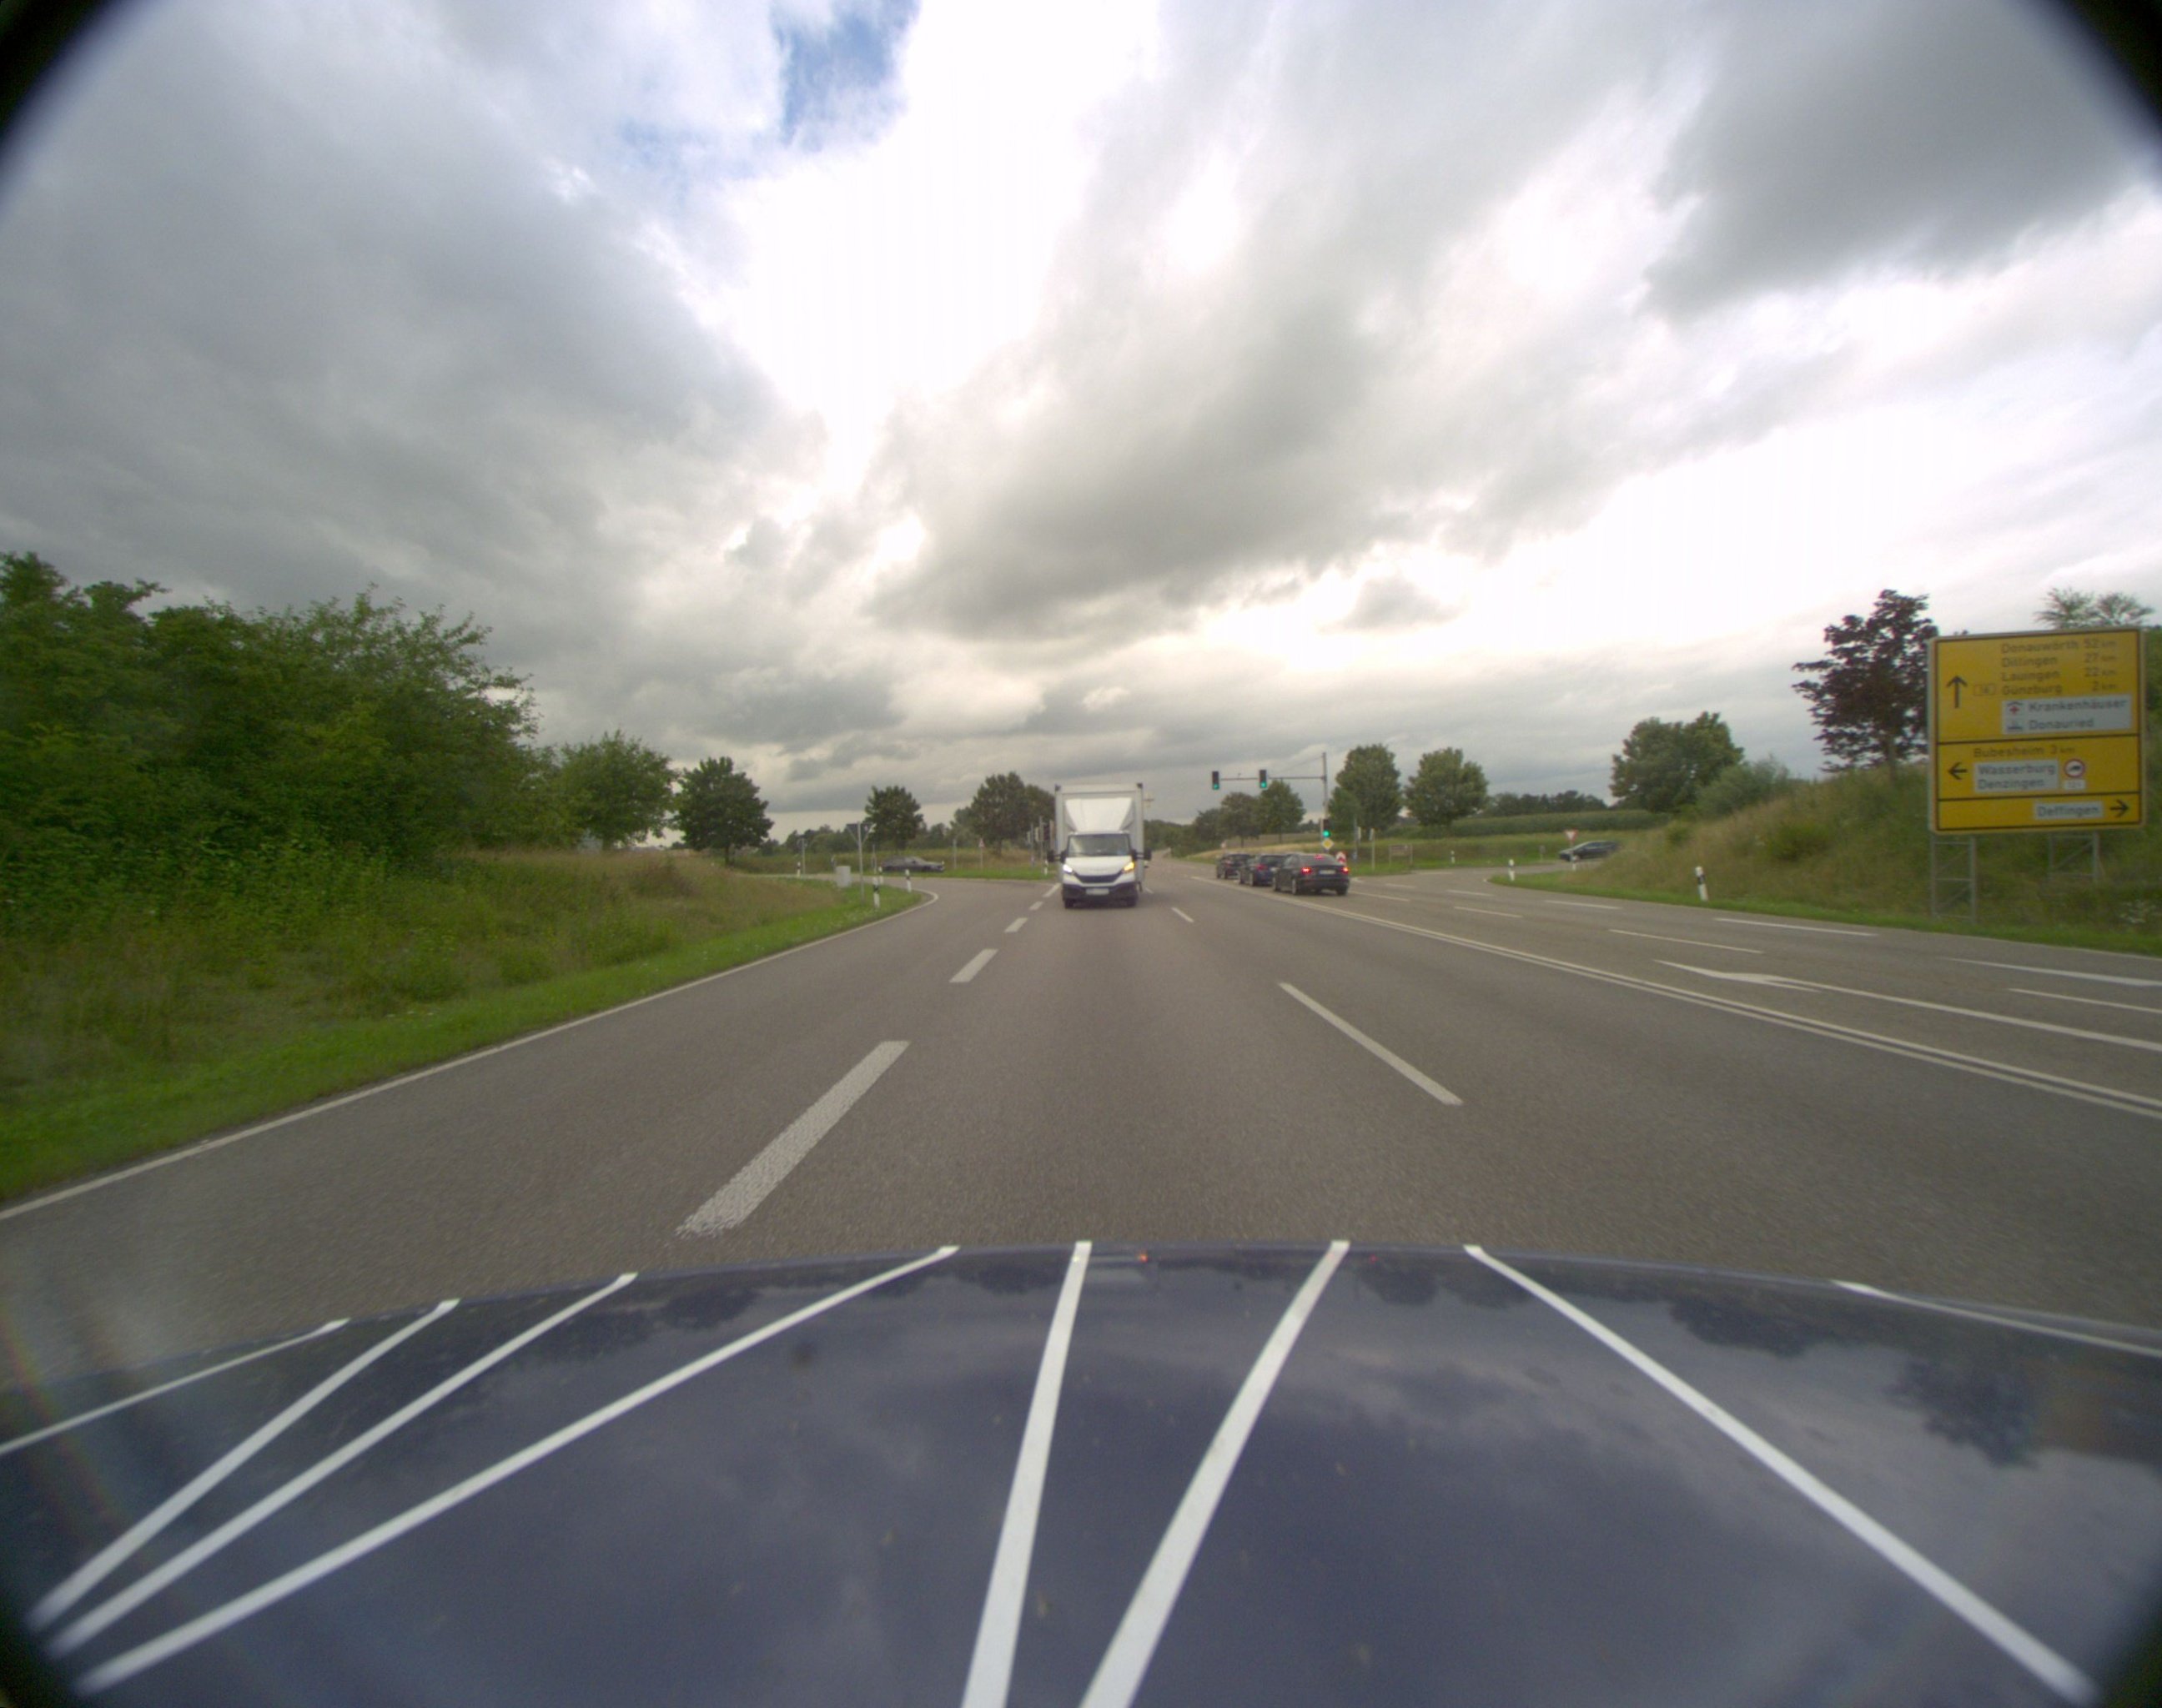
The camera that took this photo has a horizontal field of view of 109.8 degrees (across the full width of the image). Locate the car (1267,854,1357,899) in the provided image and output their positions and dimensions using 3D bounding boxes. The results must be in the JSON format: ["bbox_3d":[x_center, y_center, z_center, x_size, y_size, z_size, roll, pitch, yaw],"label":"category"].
[{"bbox_3d":[8.021,0.736,26.796,1.770,1.375,4.543,-1,0,0],"label":"car"}]

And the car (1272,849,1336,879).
[{"bbox_3d":[12.237,0.523,42.106,2.050,1.526,5.126,-1,0,0],"label":"car"}]

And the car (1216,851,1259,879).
[{"bbox_3d":[8.635,0.581,42.222,1.730,1.435,3.944,-1,0,3],"label":"car"}]

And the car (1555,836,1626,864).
[{"bbox_3d":[38.267,-0.327,57.130,3.996,2.002,2.000,-1,1,1],"label":"car"}]

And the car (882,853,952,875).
[{"bbox_3d":[-12.082,0.734,56.079,4.660,1.494,2.001,-1,1,10],"label":"car"}]

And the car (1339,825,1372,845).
[{"bbox_3d":[31.153,-2.160,86.391,1.999,2.002,3.998,-3,0,-5],"label":"car"}]

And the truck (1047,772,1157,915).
[{"bbox_3d":[0.671,-0.324,24.366,2.837,3.742,8.799,-1,1,2],"label":"truck"}]

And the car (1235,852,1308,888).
[{"bbox_3d":[8.283,0.645,33.477,2.053,1.475,4.881,0,0,1],"label":"car"}]

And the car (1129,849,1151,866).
[{"bbox_3d":[5.919,0.361,76.374,1.998,1.555,4.749,-2,0,2],"label":"car"}]
